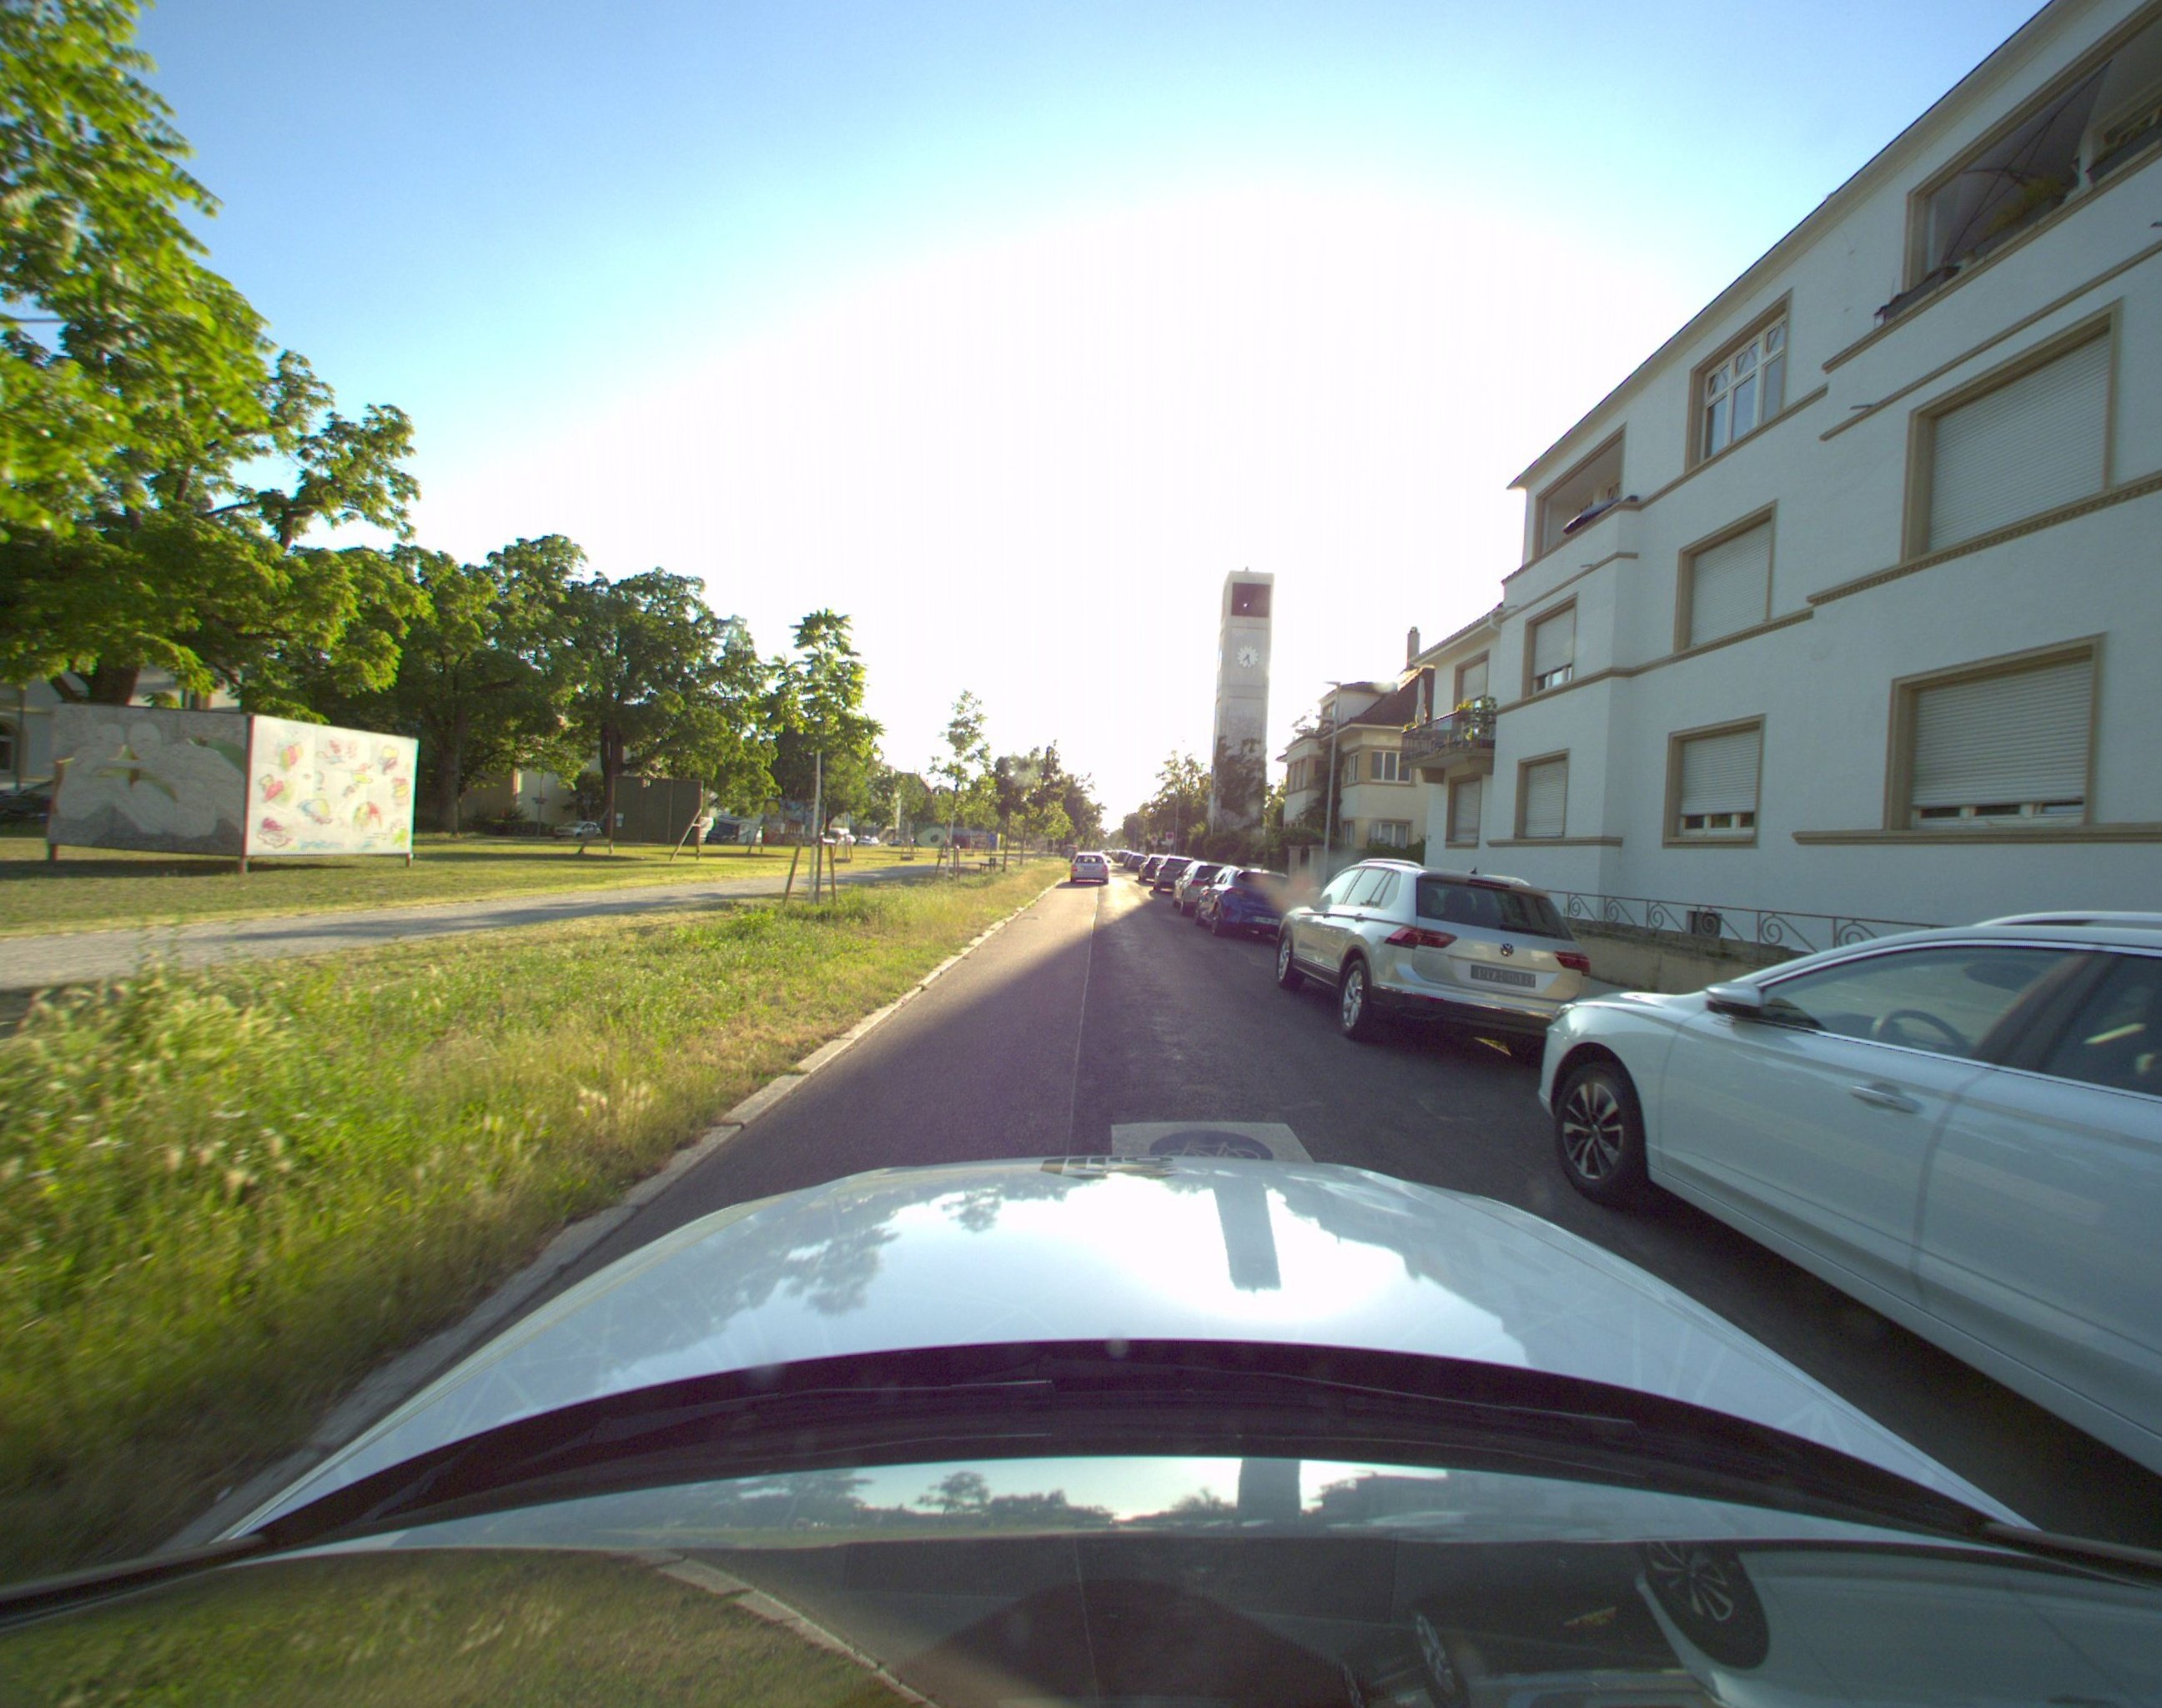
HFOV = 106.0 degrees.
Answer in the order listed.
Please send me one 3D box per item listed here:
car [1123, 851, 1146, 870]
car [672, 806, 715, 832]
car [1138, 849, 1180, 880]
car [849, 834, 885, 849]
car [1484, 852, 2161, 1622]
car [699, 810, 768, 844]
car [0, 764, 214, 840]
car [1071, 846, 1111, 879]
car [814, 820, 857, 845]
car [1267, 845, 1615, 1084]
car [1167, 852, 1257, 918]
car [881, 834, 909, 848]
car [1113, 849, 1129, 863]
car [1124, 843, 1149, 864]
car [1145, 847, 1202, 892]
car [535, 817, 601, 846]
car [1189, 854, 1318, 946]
[{"bbox_3d":[4.990,0.584,75.851,1.986,1.629,4.003,3,1,2],"label":"car"},{"bbox_3d":[-37.698,-3.396,79.399,1.986,2.409,4.365,1,0,2],"label":"car"},{"bbox_3d":[4.107,0.511,43.664,1.986,1.464,4.003,3,1,2],"label":"car"},{"bbox_3d":[-31.330,-1.841,119.740,3.147,2.148,6.898,1,1,2],"label":"car"},{"bbox_3d":[3.243,0.877,2.554,1.753,1.604,4.359,3,1,0],"label":"car"},{"bbox_3d":[-32.007,-2.411,75.366,3.147,2.992,6.898,1,1,2],"label":"car"},{"bbox_3d":[-33.035,-1.660,27.390,1.986,2.250,5.189,3,1,1],"label":"car"},{"bbox_3d":[0.469,0.361,38.020,1.755,1.420,4.000,0,1,0],"label":"car"},{"bbox_3d":[-31.208,-2.687,103.851,3.147,2.992,6.898,1,1,2],"label":"car"},{"bbox_3d":[3.290,0.842,8.438,1.679,1.650,4.101,8,1,1],"label":"car"},{"bbox_3d":[3.561,0.780,22.782,1.755,1.419,4.000,7,1,0],"label":"car"},{"bbox_3d":[-31.356,-2.162,137.518,3.147,2.148,6.114,1,1,2],"label":"car"},{"bbox_3d":[5.106,0.258,104.173,1.973,1.682,4.003,3,1,2],"label":"car"},{"bbox_3d":[4.708,-0.078,69.346,1.986,1.629,4.003,3,1,2],"label":"car"},{"bbox_3d":[3.647,0.562,32.839,1.755,1.521,4.000,5,1,0],"label":"car"},{"bbox_3d":[-38.222,-1.629,60.808,1.986,2.013,4.486,1,1,1],"label":"car"},{"bbox_3d":[3.534,0.866,17.401,1.755,1.419,4.000,8,1,0],"label":"car"}]
